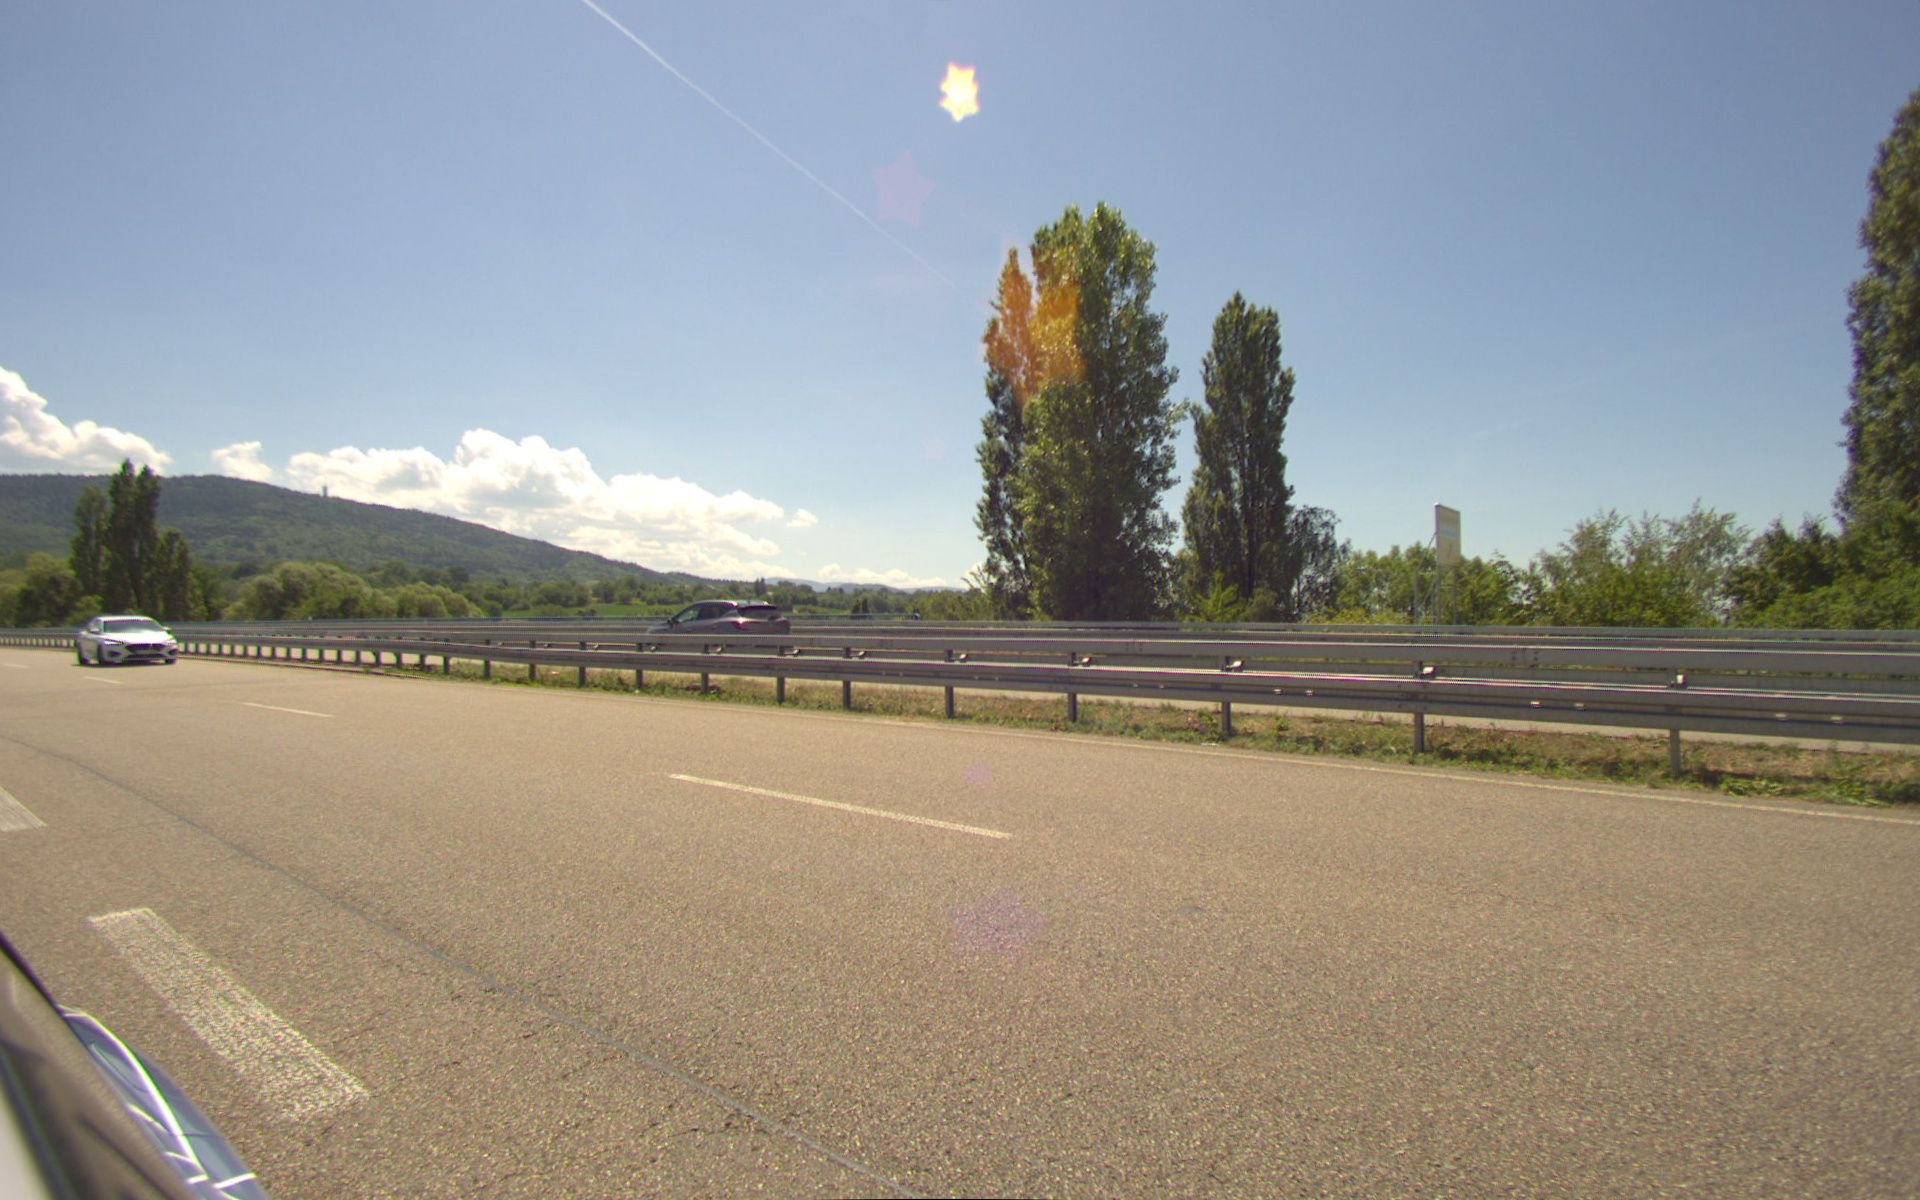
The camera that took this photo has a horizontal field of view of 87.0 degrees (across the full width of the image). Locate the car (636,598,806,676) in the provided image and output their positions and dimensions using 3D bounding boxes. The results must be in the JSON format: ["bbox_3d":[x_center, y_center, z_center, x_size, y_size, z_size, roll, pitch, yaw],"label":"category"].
[{"bbox_3d":[-5.686,0.823,23.812,4.187,1.660,1.806,-1,-1,41],"label":"car"}]

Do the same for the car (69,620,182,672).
[{"bbox_3d":[-25.359,1.333,30.706,4.465,1.418,1.823,-1,0,39],"label":"car"}]
